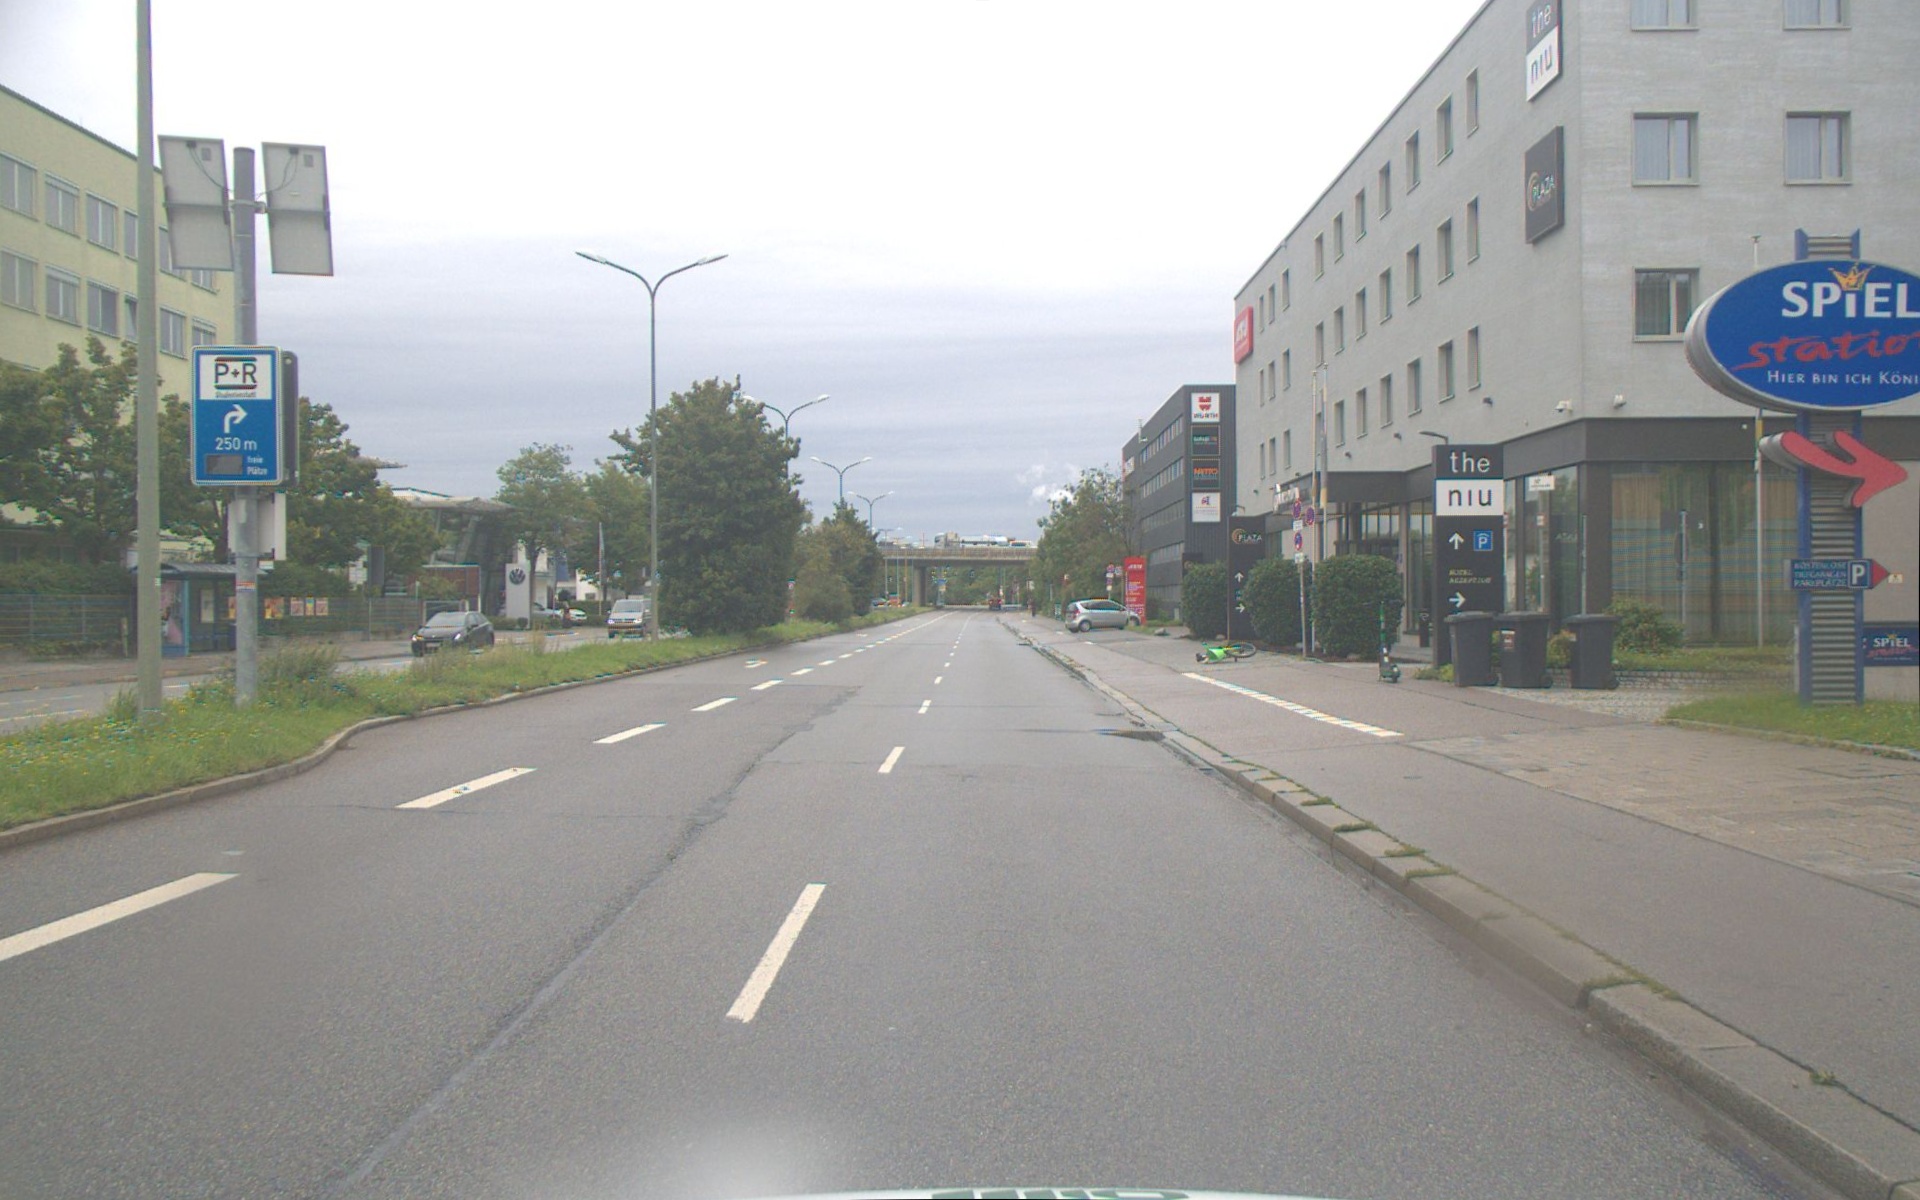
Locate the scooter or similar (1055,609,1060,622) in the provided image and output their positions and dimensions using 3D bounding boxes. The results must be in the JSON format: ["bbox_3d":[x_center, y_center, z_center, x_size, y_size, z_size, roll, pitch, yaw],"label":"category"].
[{"bbox_3d":[7.929,1.231,134.398,0.298,1.021,1.219,-2,0,-2],"label":"scooter or similar"}]

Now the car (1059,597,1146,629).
[{"bbox_3d":[7.126,0.639,82.832,3.949,1.585,1.812,0,0,-17],"label":"car"}]

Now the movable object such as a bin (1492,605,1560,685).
[{"bbox_3d":[7.996,0.627,23.380,0.722,1.097,0.655,-2,0,1],"label":"movable object such as a bin"}]

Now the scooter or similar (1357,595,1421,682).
[{"bbox_3d":[6.820,0.602,26.340,0.574,1.299,1.404,-5,0,1],"label":"scooter or similar"}]

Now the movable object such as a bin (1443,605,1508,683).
[{"bbox_3d":[7.516,0.636,24.119,0.722,1.097,0.655,-2,0,1],"label":"movable object such as a bin"}]

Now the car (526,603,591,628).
[{"bbox_3d":[-27.124,1.028,111.668,3.905,1.535,1.801,-2,0,22],"label":"car"}]

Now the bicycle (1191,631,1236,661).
[{"bbox_3d":[5.628,1.012,36.831,0.705,0.558,1.732,-4,0,0],"label":"bicycle"}]

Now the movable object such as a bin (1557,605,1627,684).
[{"bbox_3d":[9.030,0.628,23.655,0.722,1.097,0.655,-2,0,1],"label":"movable object such as a bin"}]

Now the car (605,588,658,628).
[{"bbox_3d":[-17.288,0.395,87.175,1.953,1.995,4.324,-2,0,-1],"label":"car"}]

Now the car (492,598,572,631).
[{"bbox_3d":[-26.605,0.910,102.855,4.568,1.874,1.788,-2,0,-23],"label":"car"}]

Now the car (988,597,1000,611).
[{"bbox_3d":[5.064,0.605,247.815,1.774,2.049,3.834,1,0,2],"label":"car"}]

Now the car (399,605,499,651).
[{"bbox_3d":[-17.258,0.910,56.051,1.953,1.426,4.654,-2,0,-1],"label":"car"}]

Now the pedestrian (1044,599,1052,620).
[{"bbox_3d":[8.342,0.912,157.655,0.674,1.909,0.662,-2,0,0],"label":"pedestrian"}]
